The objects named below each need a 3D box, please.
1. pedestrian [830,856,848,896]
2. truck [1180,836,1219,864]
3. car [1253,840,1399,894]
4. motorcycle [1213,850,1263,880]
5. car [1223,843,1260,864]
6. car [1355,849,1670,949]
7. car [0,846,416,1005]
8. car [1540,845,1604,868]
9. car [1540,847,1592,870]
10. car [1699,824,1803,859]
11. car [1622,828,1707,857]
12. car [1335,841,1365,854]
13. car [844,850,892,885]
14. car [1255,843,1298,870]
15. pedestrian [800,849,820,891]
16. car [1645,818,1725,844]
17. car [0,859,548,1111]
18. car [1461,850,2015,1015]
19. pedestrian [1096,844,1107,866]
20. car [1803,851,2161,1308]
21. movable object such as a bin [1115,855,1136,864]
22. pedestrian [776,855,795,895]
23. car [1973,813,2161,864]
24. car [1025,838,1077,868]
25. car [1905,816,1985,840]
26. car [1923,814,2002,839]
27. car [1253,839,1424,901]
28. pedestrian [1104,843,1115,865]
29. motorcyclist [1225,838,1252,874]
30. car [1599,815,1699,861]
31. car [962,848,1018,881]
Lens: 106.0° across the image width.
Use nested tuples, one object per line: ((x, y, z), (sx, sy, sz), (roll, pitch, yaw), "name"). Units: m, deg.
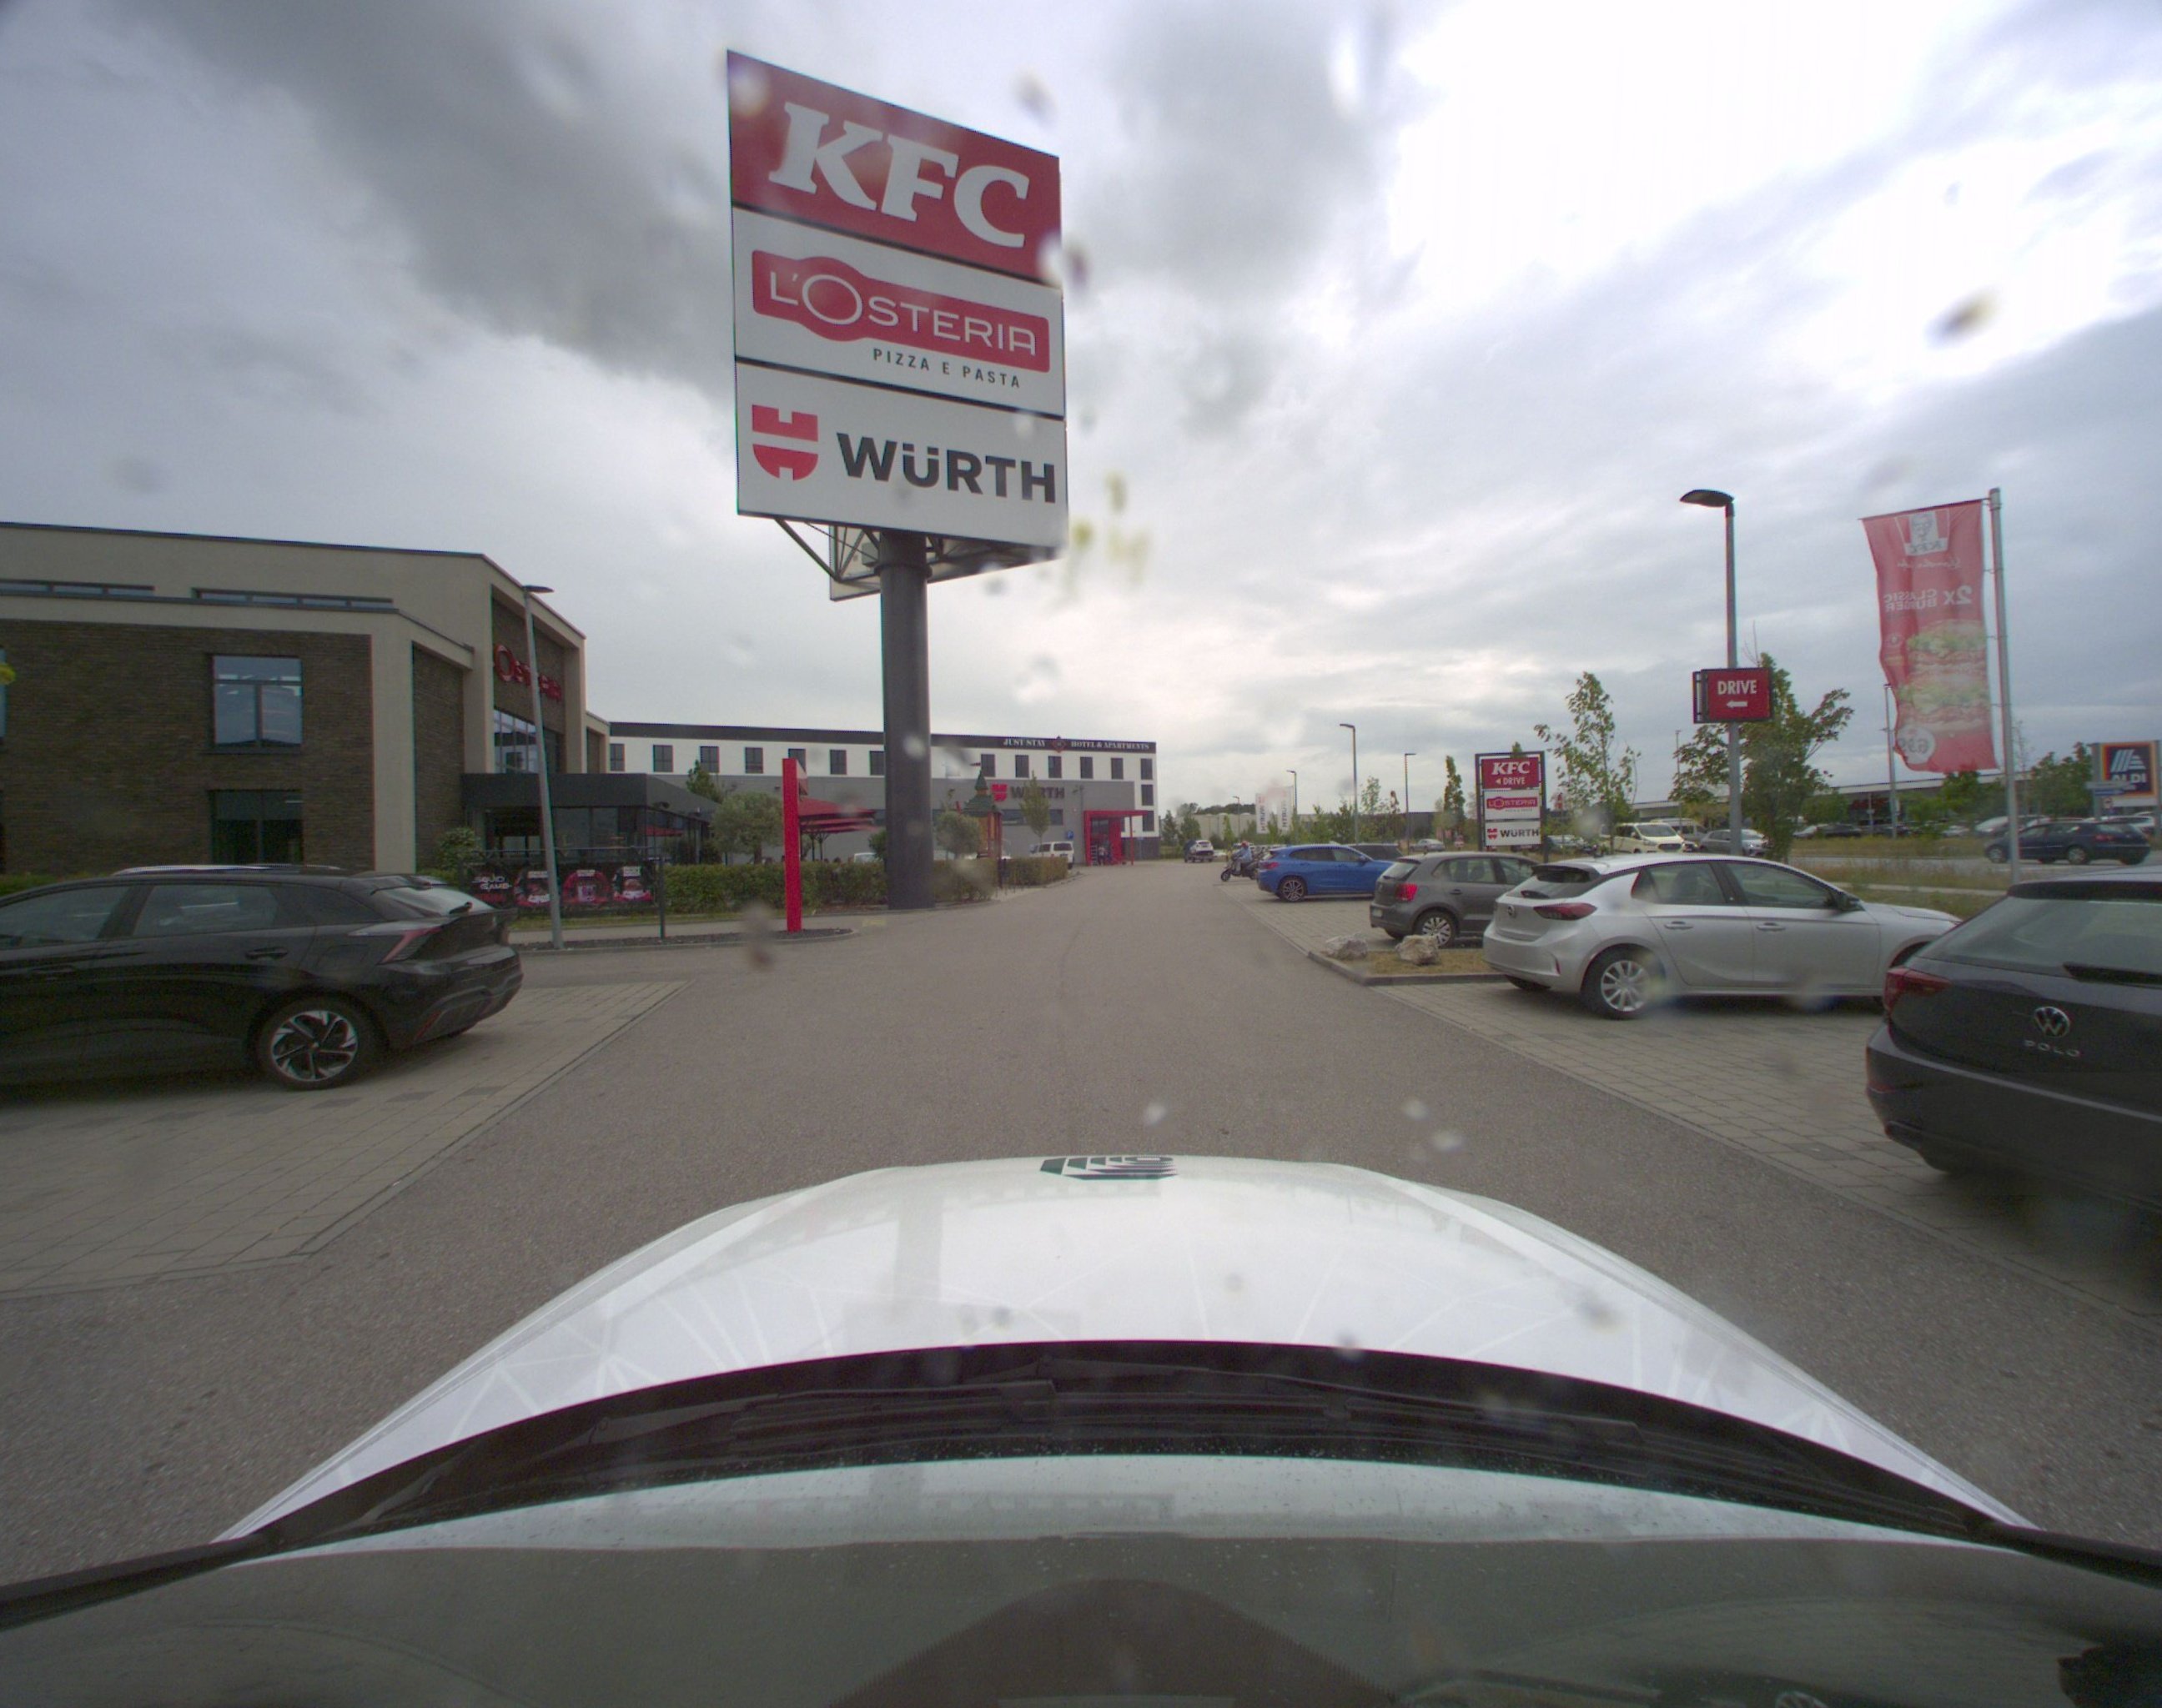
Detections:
((-7.453, 0.681, 25.073), (0.420, 1.199, 0.455), (-3, 0, -10), "pedestrian")
((11.857, -0.371, 82.070), (2.326, 2.407, 7.886), (0, -2, -3), "truck")
((7.465, 0.381, 25.126), (4.039, 1.459, 1.780), (-2, 1, 7), "car")
((6.646, 0.468, 34.568), (1.911, 1.208, 0.794), (-2, 0, -4), "motorcycle")
((12.843, -0.046, 65.452), (1.854, 1.650, 3.991), (0, -1, -6), "car")
((6.497, 0.642, 12.608), (3.969, 1.428, 1.729), (0, 0, 4), "car")
((-11.111, 0.818, 10.103), (3.994, 1.596, 1.727), (-3, 0, -15), "car")
((32.358, 0.151, 53.857), (1.756, 1.394, 4.221), (-2, 0, 2), "car")
((29.369, 0.247, 49.403), (1.454, 1.336, 3.167), (-2, 0, 5), "car")
((31.121, -0.576, 37.977), (1.814, 1.459, 4.008), (-3, 0, 7), "car")
((31.897, -0.610, 44.698), (1.842, 1.499, 4.290), (-2, 0, 5), "car")
((34.450, -0.835, 104.576), (1.794, 1.552, 4.845), (-3, 0, -5), "car")
((-11.214, 0.715, 42.711), (2.000, 1.650, 4.547), (-3, 0, -20), "car")
((11.323, 0.145, 47.317), (1.743, 1.469, 4.482), (-1, 0, 5), "car")
((-11.734, 0.693, 35.286), (0.742, 1.748, 0.699), (-3, 0, -18), "pedestrian")
((56.435, -2.142, 76.167), (5.550, 2.122, 2.344), (-3, 0, 6), "car")
((-6.598, 0.836, 5.983), (4.116, 1.528, 1.733), (-1, -1, -15), "car")
((6.065, 0.668, 7.912), (3.912, 1.412, 1.840), (0, 0, 1), "car")
((1.676, 0.120, 65.741), (0.625, 1.751, 0.900), (-2, 0, -15), "pedestrian")
((5.235, 0.697, 2.922), (3.783, 1.412, 1.738), (0, 0, 0), "car")
((3.633, 0.444, 66.987), (1.492, 0.704, 0.959), (-1, -1, -18), "movable object such as a bin")
((-9.115, 0.649, 25.124), (0.420, 1.199, 0.455), (-3, 0, -10), "pedestrian")
((33.650, -0.509, 27.699), (1.915, 1.486, 4.426), (-3, 0, 4), "car")
((-2.200, -0.032, 58.666), (2.067, 1.855, 4.025), (-5, 1, -28), "car")
((73.037, -2.186, 68.943), (1.996, 1.837, 4.168), (-3, 0, -13), "car")
((75.661, -2.341, 69.982), (1.993, 1.837, 4.174), (-3, 0, -9), "car")
((6.976, 0.412, 22.424), (4.180, 1.544, 1.868), (-1, 0, 6), "car")
((2.331, 0.007, 66.504), (0.678, 1.802, 0.875), (0, 0, -17), "pedestrian")
((6.675, 0.092, 34.552), (0.936, 1.489, 0.829), (-2, 0, -3), "motorcyclist")
((28.402, -0.799, 40.927), (1.982, 2.086, 5.244), (-2, 1, 9), "car")
((-5.115, 0.571, 45.178), (2.000, 1.650, 4.547), (-3, 0, -20), "car")
